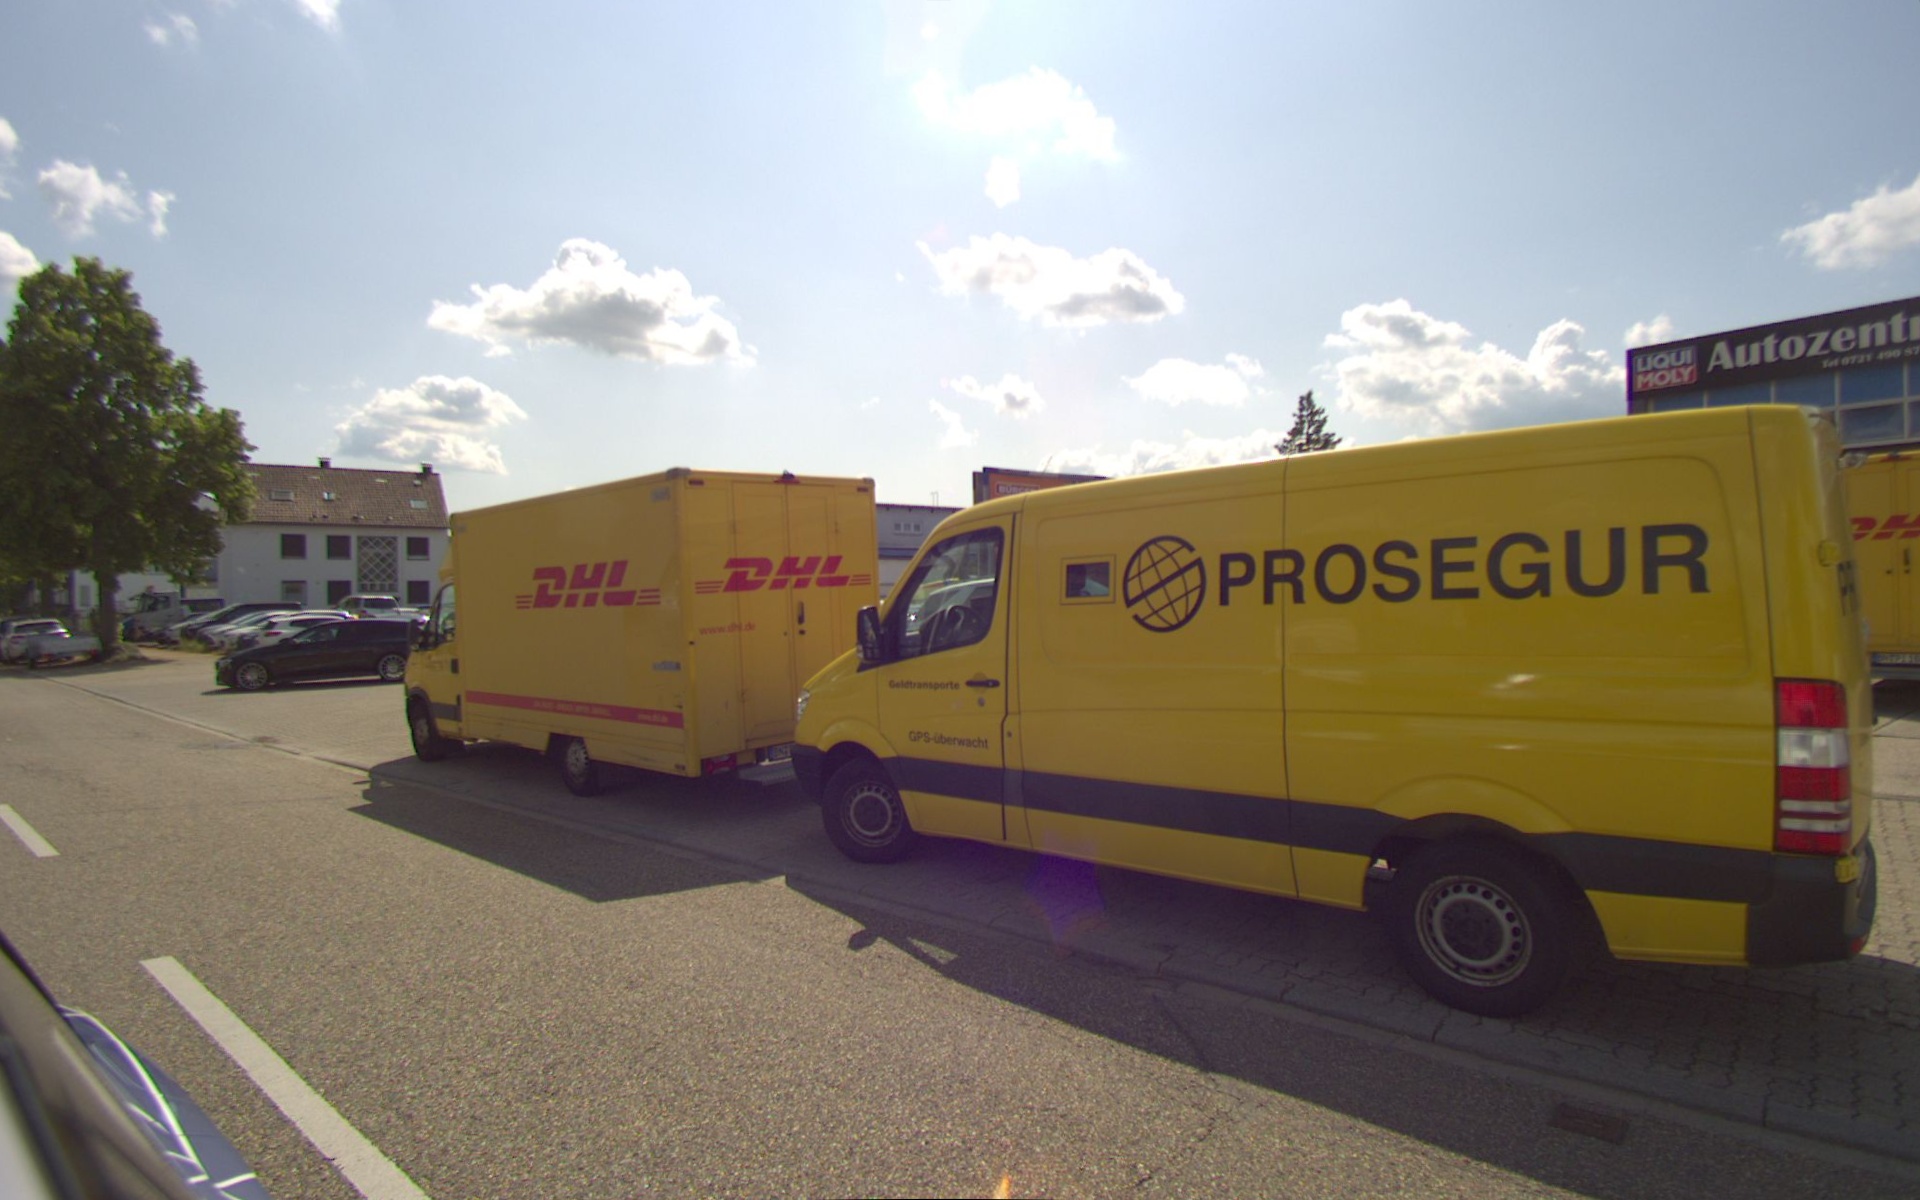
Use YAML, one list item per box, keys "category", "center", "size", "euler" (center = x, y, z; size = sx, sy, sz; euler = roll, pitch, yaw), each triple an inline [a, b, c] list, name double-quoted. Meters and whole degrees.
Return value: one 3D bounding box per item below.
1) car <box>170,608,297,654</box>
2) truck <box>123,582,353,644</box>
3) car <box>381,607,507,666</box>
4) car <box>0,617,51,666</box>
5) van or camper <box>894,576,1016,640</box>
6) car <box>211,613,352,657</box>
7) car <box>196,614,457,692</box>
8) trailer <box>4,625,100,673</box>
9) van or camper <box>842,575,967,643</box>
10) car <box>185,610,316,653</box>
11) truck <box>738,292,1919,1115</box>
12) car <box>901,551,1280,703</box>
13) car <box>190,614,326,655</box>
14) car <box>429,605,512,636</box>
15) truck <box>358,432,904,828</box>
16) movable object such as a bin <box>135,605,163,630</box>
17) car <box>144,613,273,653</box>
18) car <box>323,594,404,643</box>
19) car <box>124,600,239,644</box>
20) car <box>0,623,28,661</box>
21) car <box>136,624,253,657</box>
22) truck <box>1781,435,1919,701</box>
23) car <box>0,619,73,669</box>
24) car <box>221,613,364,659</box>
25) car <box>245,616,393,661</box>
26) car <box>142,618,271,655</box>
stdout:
- category: "car"
  center: [-30.637, 1.248, 42.742]
  size: [1.828, 1.801, 4.098]
  euler: [0, 0, 44]
- category: "truck"
  center: [-36.152, 0.641, 51.053]
  size: [9.151, 2.878, 2.722]
  euler: [0, -1, -45]
- category: "car"
  center: [-14.697, 1.010, 28.727]
  size: [4.255, 1.545, 1.735]
  euler: [-2, -1, 42]
- category: "car"
  center: [-36.582, 1.585, 39.036]
  size: [4.397, 1.712, 1.676]
  euler: [-2, 2, 41]
- category: "van or camper"
  center: [-0.282, 0.376, 41.704]
  size: [1.969, 2.494, 5.368]
  euler: [-1, -1, -41]
- category: "car"
  center: [-25.285, 1.243, 37.790]
  size: [1.828, 1.501, 4.098]
  euler: [0, 0, 44]
- category: "car"
  center: [-13.985, 1.132, 22.665]
  size: [4.516, 1.405, 2.006]
  euler: [-2, 1, -15]
- category: "trailer"
  center: [-29.232, 1.524, 32.534]
  size: [4.506, 1.299, 1.743]
  euler: [-1, 3, 42]
- category: "van or camper"
  center: [-2.255, 0.388, 39.707]
  size: [1.969, 2.494, 5.368]
  euler: [-1, -1, -41]
- category: "car"
  center: [-28.885, 1.235, 41.272]
  size: [1.828, 1.631, 4.098]
  euler: [0, 0, 44]
- category: "truck"
  center: [1.351, 0.355, 5.713]
  size: [6.064, 2.432, 1.972]
  euler: [-1, -1, 43]
- category: "car"
  center: [1.649, 0.349, 13.514]
  size: [4.693, 1.718, 1.814]
  euler: [-1, -1, 33]
- category: "car"
  center: [-27.322, 1.308, 39.488]
  size: [1.828, 1.441, 4.098]
  euler: [0, 0, 44]
- category: "car"
  center: [-30.776, 1.239, 63.685]
  size: [4.421, 1.805, 2.005]
  euler: [-1, 1, -36]
- category: "truck"
  center: [-3.861, 0.241, 10.569]
  size: [7.069, 2.878, 2.196]
  euler: [-1, 1, 43]
- category: "movable object such as a bin"
  center: [-54.250, 1.188, 67.749]
  size: [1.291, 1.443, 1.607]
  euler: [-1, -7, -32]
- category: "car"
  center: [-32.838, 1.409, 44.307]
  size: [1.826, 1.627, 4.251]
  euler: [-2, -1, 40]
- category: "car"
  center: [-25.661, 0.804, 43.463]
  size: [3.995, 2.029, 1.694]
  euler: [-1, -1, 39]
- category: "car"
  center: [-42.603, 1.155, 55.539]
  size: [4.934, 2.248, 2.005]
  euler: [-1, 1, -36]
- category: "car"
  center: [-40.653, 1.773, 42.630]
  size: [4.158, 1.495, 1.681]
  euler: [-2, 0, 43]
- category: "car"
  center: [-35.940, 1.869, 47.585]
  size: [1.678, 1.470, 4.151]
  euler: [-2, -2, 43]
- category: "truck"
  center: [13.038, -0.382, 12.783]
  size: [6.511, 2.871, 2.534]
  euler: [-1, 0, -36]
- category: "car"
  center: [-32.732, 1.515, 35.604]
  size: [4.237, 1.539, 1.813]
  euler: [-2, 1, 43]
- category: "car"
  center: [-23.817, 1.243, 36.186]
  size: [1.828, 1.501, 3.981]
  euler: [0, 0, 44]
- category: "car"
  center: [-21.816, 1.275, 34.529]
  size: [3.979, 1.384, 1.828]
  euler: [0, 0, -44]
- category: "car"
  center: [-34.190, 1.648, 46.025]
  size: [1.827, 1.594, 4.475]
  euler: [-2, -2, 43]
